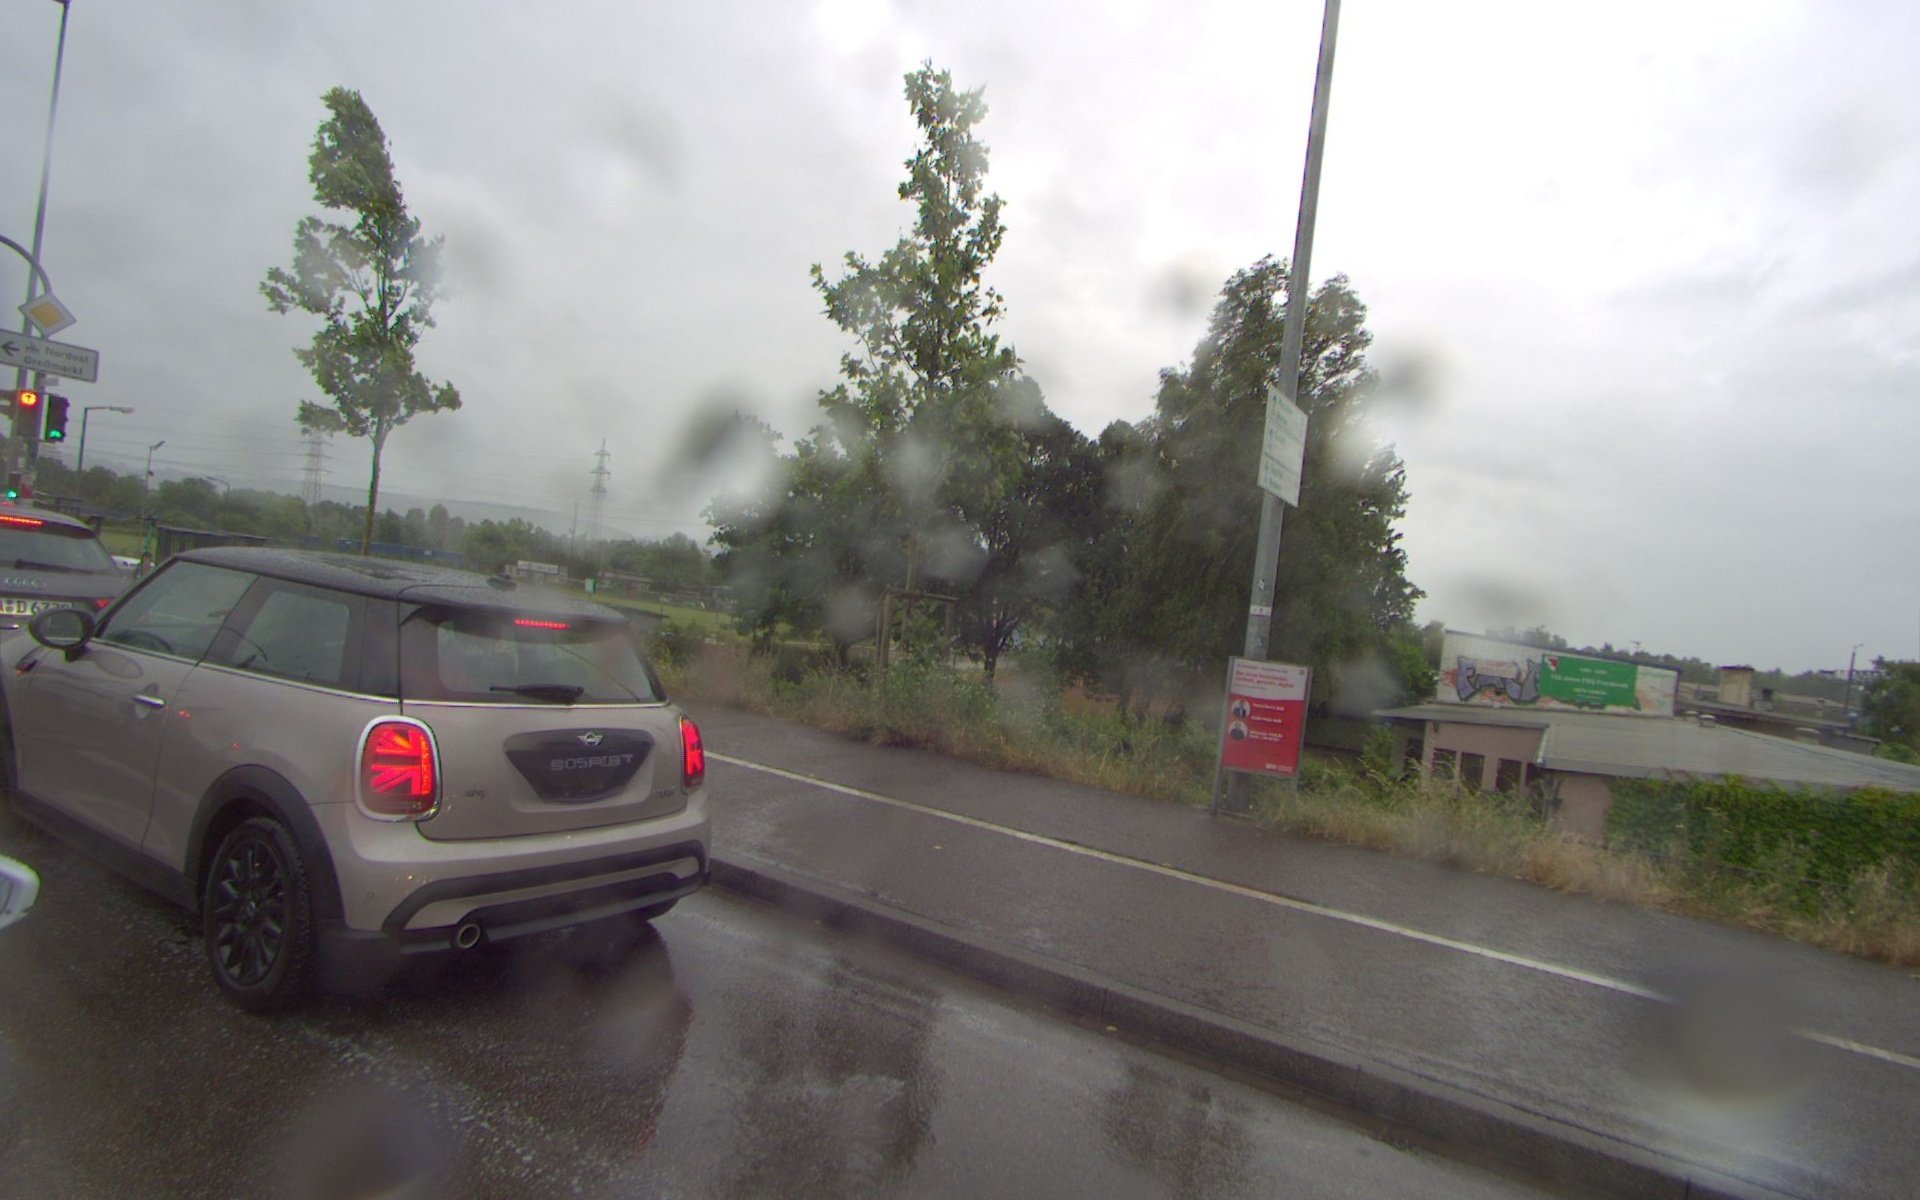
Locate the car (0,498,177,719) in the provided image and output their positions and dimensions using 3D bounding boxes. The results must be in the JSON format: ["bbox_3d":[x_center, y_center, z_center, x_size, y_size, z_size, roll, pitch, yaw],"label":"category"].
[{"bbox_3d":[-7.486,-0.078,7.242,3.569,1.383,1.600,5,-1,30],"label":"car"}]

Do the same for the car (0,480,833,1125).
[{"bbox_3d":[-2.657,0.485,4.275,3.815,1.524,1.707,7,-4,32],"label":"car"}]

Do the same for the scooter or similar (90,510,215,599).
[{"bbox_3d":[-13.885,-0.798,17.254,2.971,1.226,0.691,7,0,33],"label":"scooter or similar"}]
